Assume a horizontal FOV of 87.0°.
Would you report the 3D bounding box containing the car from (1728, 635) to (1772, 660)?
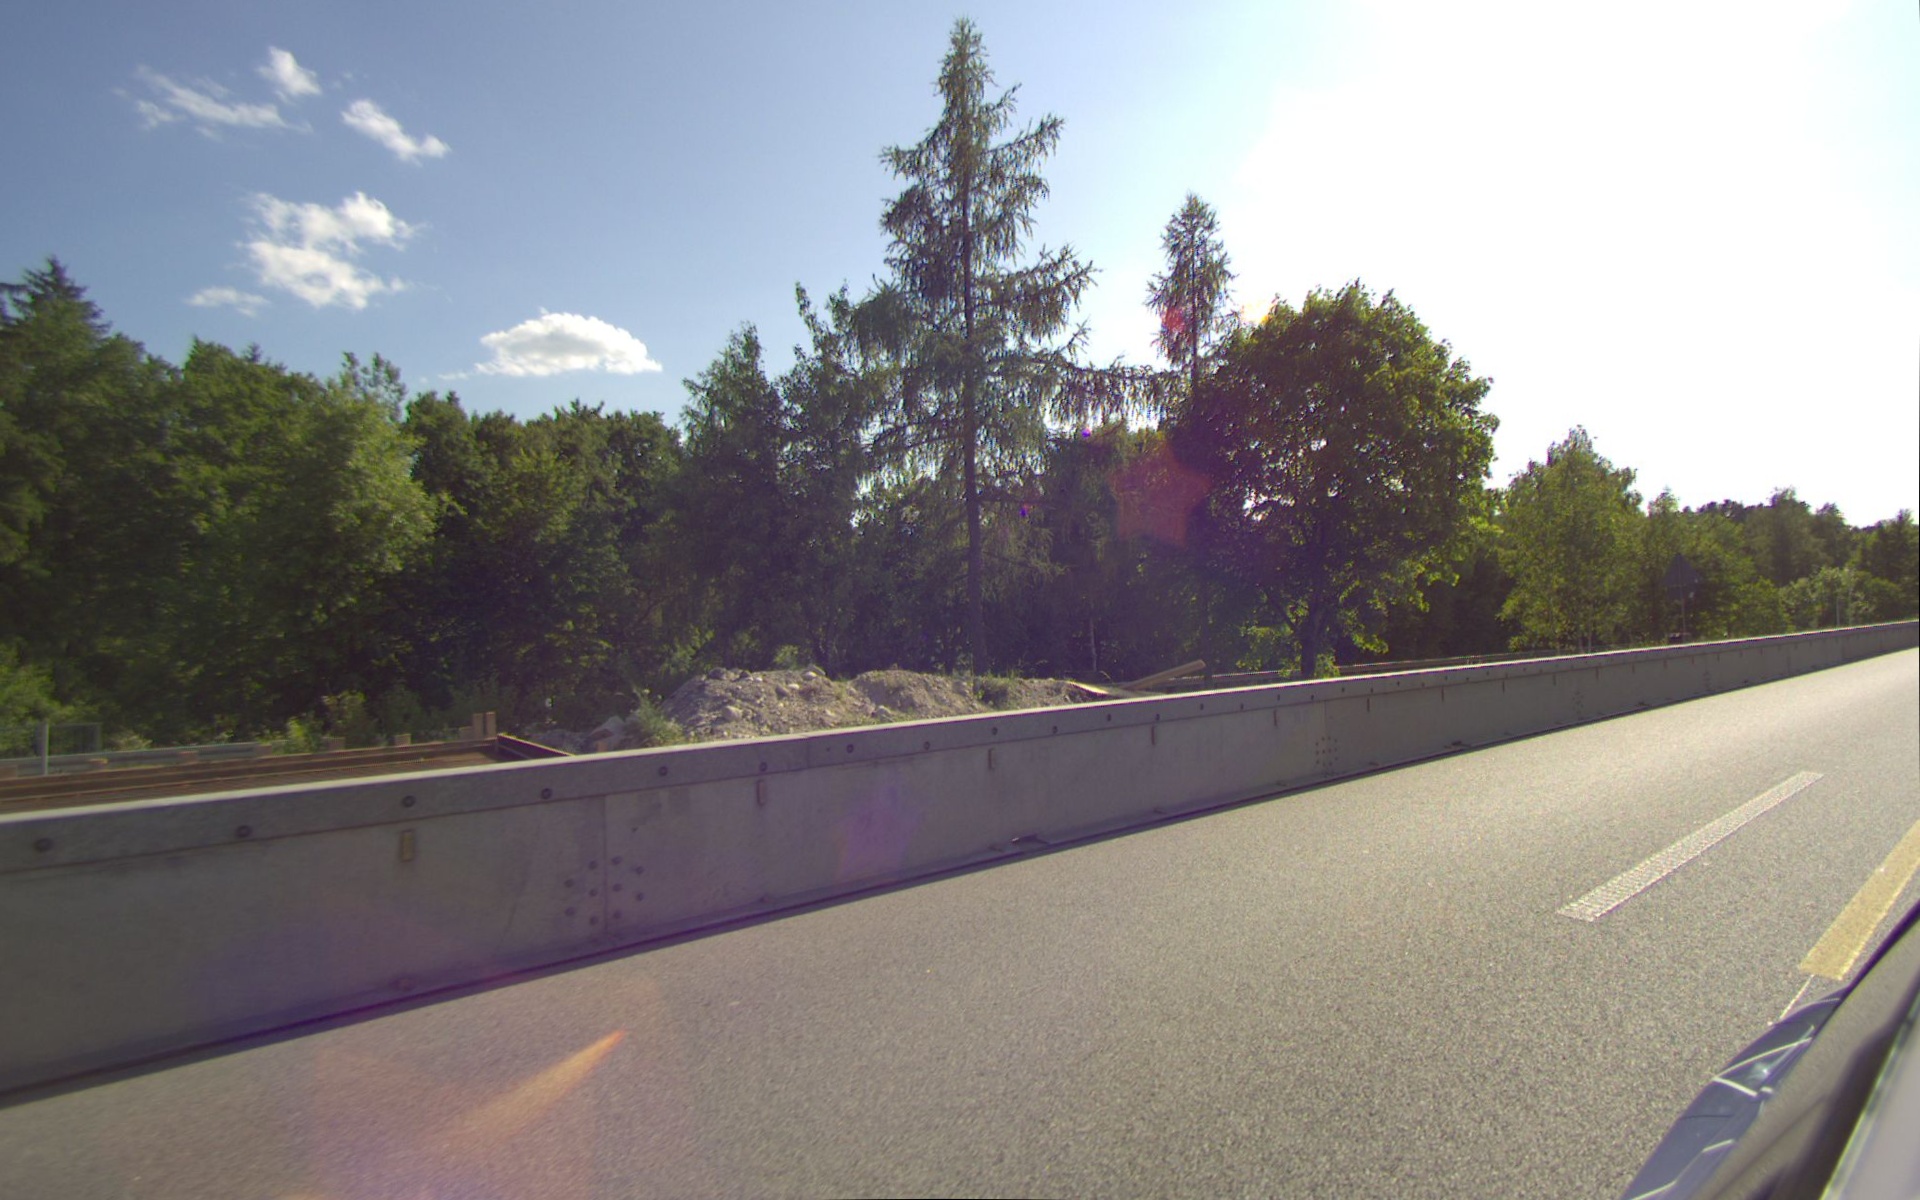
[{"bbox_3d":[59.797,3.586,76.554,3.810,1.674,1.768,0,0,-38],"label":"car"}]
